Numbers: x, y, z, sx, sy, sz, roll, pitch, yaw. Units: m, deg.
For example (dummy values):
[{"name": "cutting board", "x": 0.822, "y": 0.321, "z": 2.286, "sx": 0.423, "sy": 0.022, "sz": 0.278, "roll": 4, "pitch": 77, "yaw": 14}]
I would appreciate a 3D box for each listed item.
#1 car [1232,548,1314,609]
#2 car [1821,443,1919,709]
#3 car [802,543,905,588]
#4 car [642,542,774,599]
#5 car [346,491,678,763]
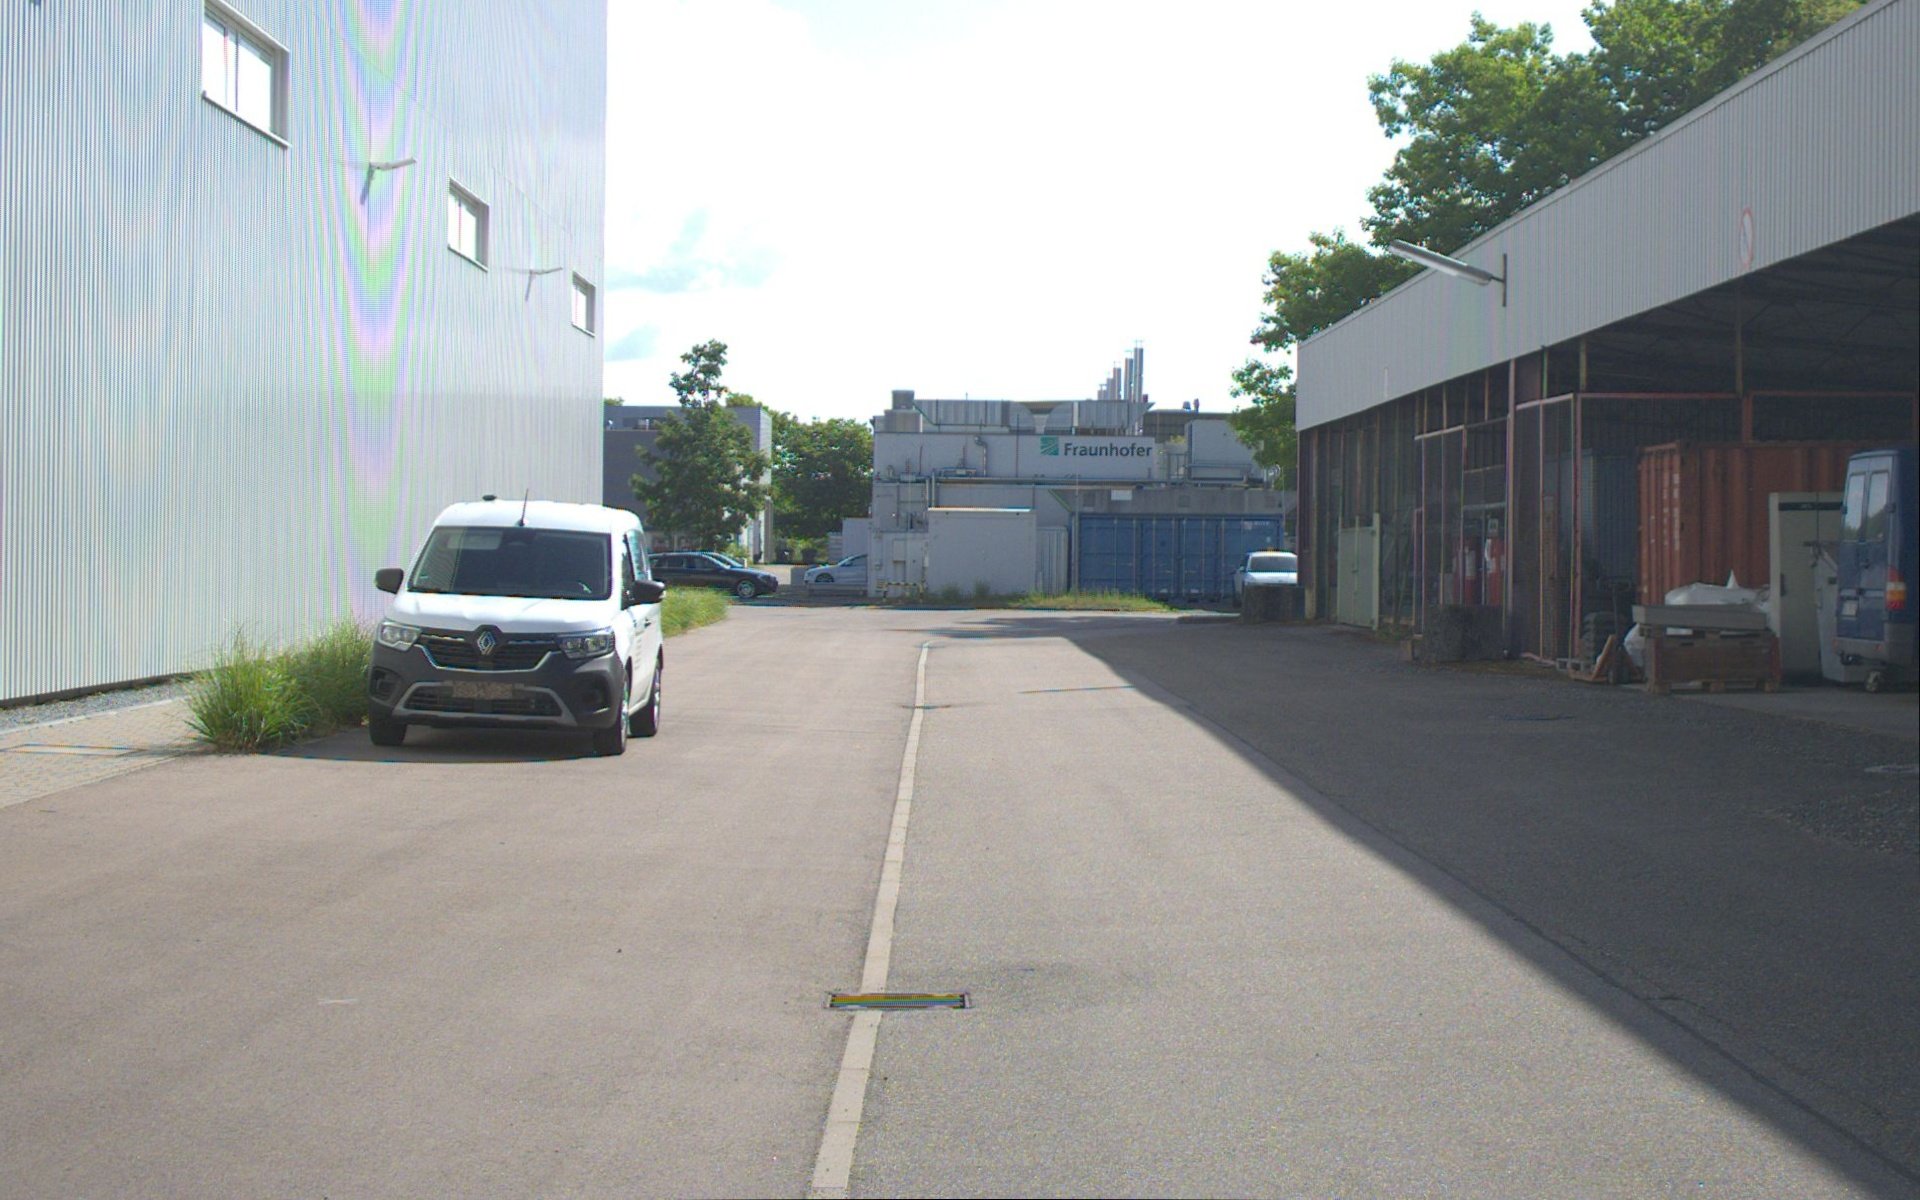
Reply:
[{"name": "car", "x": 8.662, "y": -0.623, "z": 95.317, "sx": 1.962, "sy": 1.559, "sz": 4.059, "roll": 2, "pitch": 1, "yaw": 2}, {"name": "car", "x": 10.210, "y": -0.121, "z": 30.834, "sx": 4.433, "sy": 2.302, "sz": 1.915, "roll": 2, "pitch": -1, "yaw": 1}, {"name": "car", "x": -4.188, "y": -1.361, "z": 135.665, "sx": 3.987, "sy": 1.592, "sz": 1.848, "roll": 2, "pitch": -1, "yaw": -1}, {"name": "car", "x": -7.894, "y": -0.920, "z": 107.801, "sx": 3.987, "sy": 1.592, "sz": 1.742, "roll": 2, "pitch": -1, "yaw": -1}, {"name": "car", "x": -3.227, "y": 0.140, "z": 25.565, "sx": 1.818, "sy": 1.781, "sz": 4.405, "roll": 2, "pitch": 1, "yaw": 0}]
